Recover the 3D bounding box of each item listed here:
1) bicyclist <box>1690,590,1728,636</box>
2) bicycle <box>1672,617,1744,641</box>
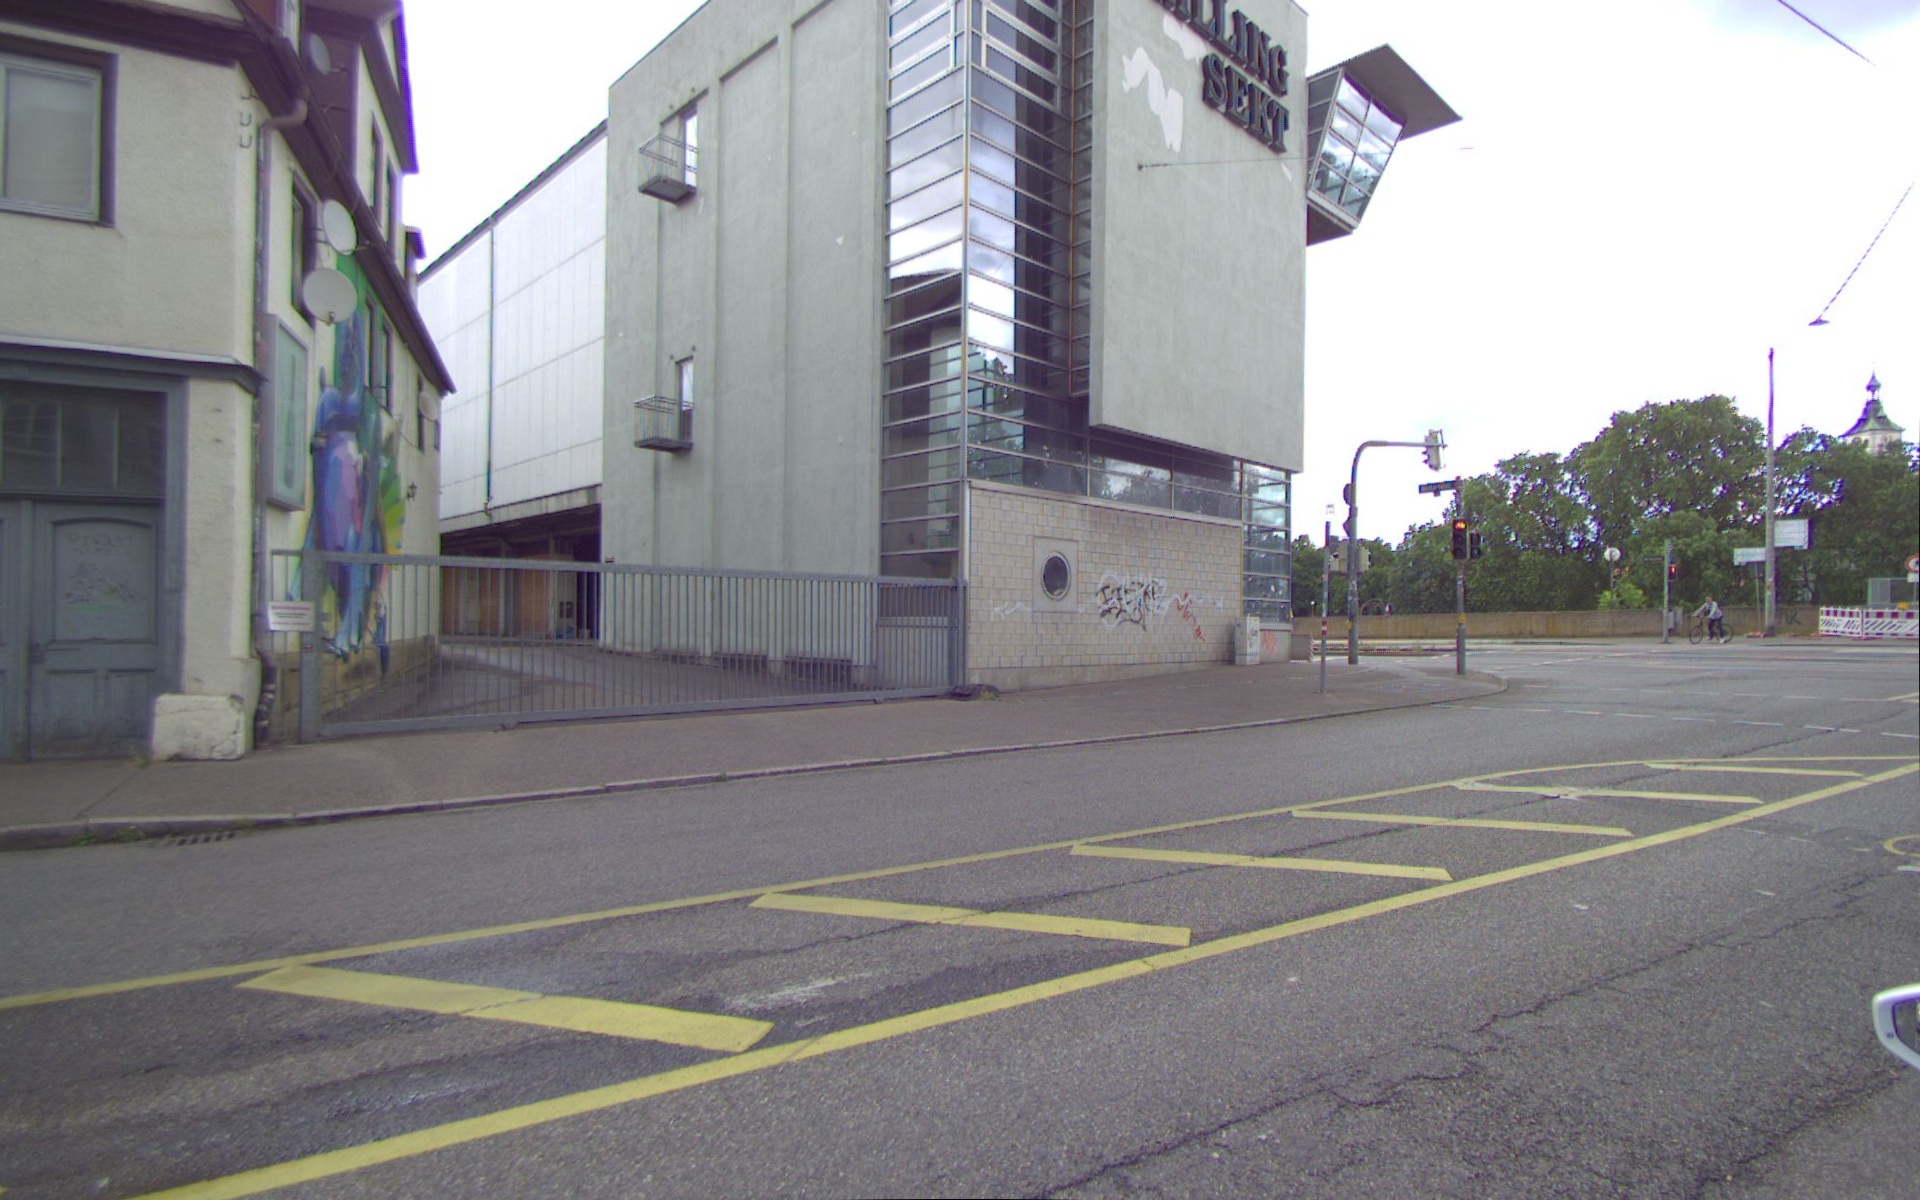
[{"bbox_3d":[28.887,0.503,38.731,0.985,1.767,0.755,0,1,19],"label":"bicyclist"},{"bbox_3d":[28.847,1.111,38.756,2.096,0.904,0.760,-1,0,19],"label":"bicycle"}]
